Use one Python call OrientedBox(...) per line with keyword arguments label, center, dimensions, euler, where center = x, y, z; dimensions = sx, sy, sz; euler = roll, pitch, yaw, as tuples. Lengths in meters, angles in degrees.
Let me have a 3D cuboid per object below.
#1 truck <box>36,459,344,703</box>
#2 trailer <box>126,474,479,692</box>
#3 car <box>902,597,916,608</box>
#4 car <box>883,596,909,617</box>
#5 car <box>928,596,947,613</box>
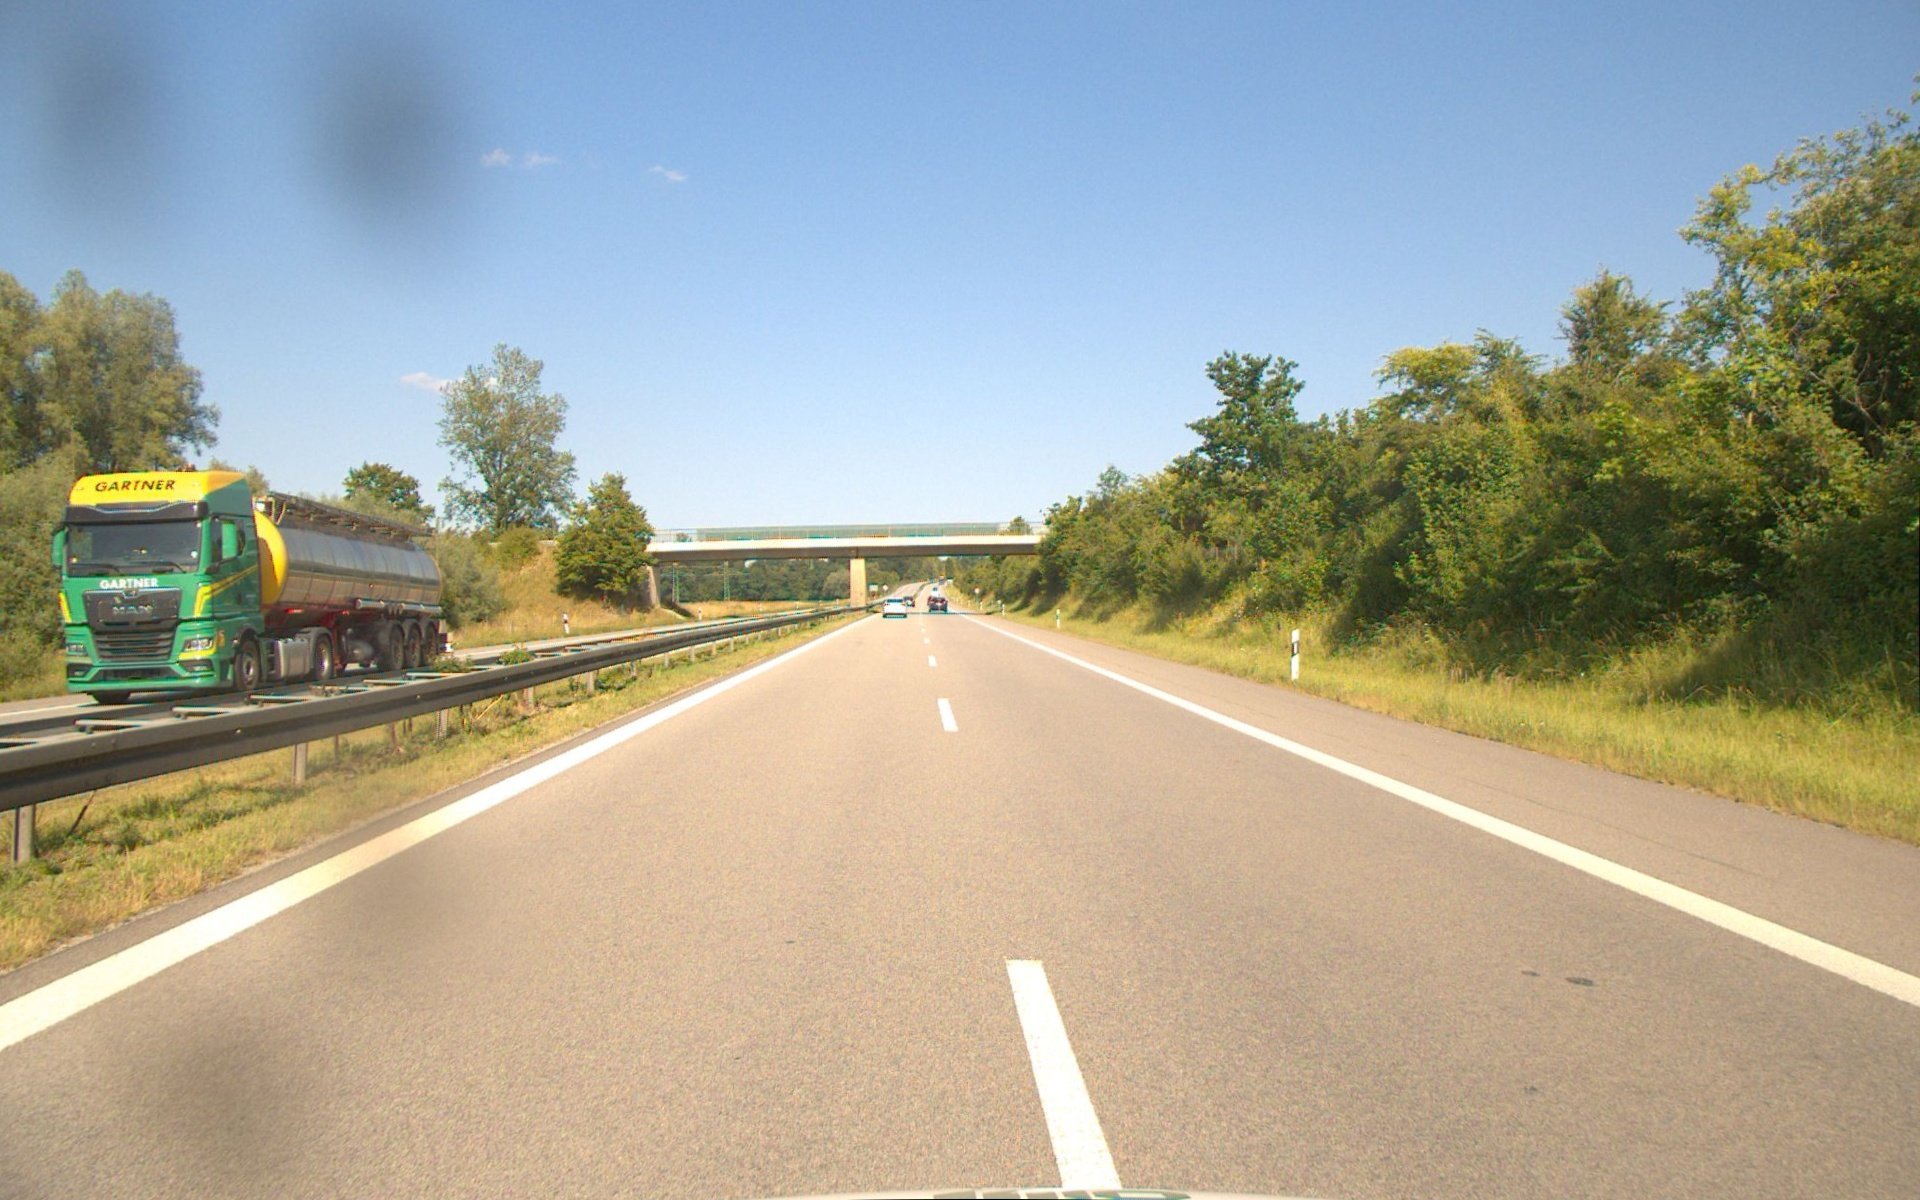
OrientedBox(label="truck", center=(-13.221, -0.303, 28.967), dimensions=(2.896, 3.796, 5.566), euler=(-1, 0, -2))
OrientedBox(label="trailer", center=(-13.451, -0.285, 35.506), dimensions=(2.920, 3.796, 12.415), euler=(-1, 0, -2))
OrientedBox(label="car", center=(-6.950, 0.396, 225.048), dimensions=(1.806, 1.461, 3.998), euler=(1, 0, -2))
OrientedBox(label="car", center=(-4.642, 0.452, 120.086), dimensions=(1.806, 1.440, 3.998), euler=(1, 0, -2))
OrientedBox(label="car", center=(-2.232, 0.455, 164.573), dimensions=(1.806, 1.546, 3.998), euler=(1, 0, -2))
